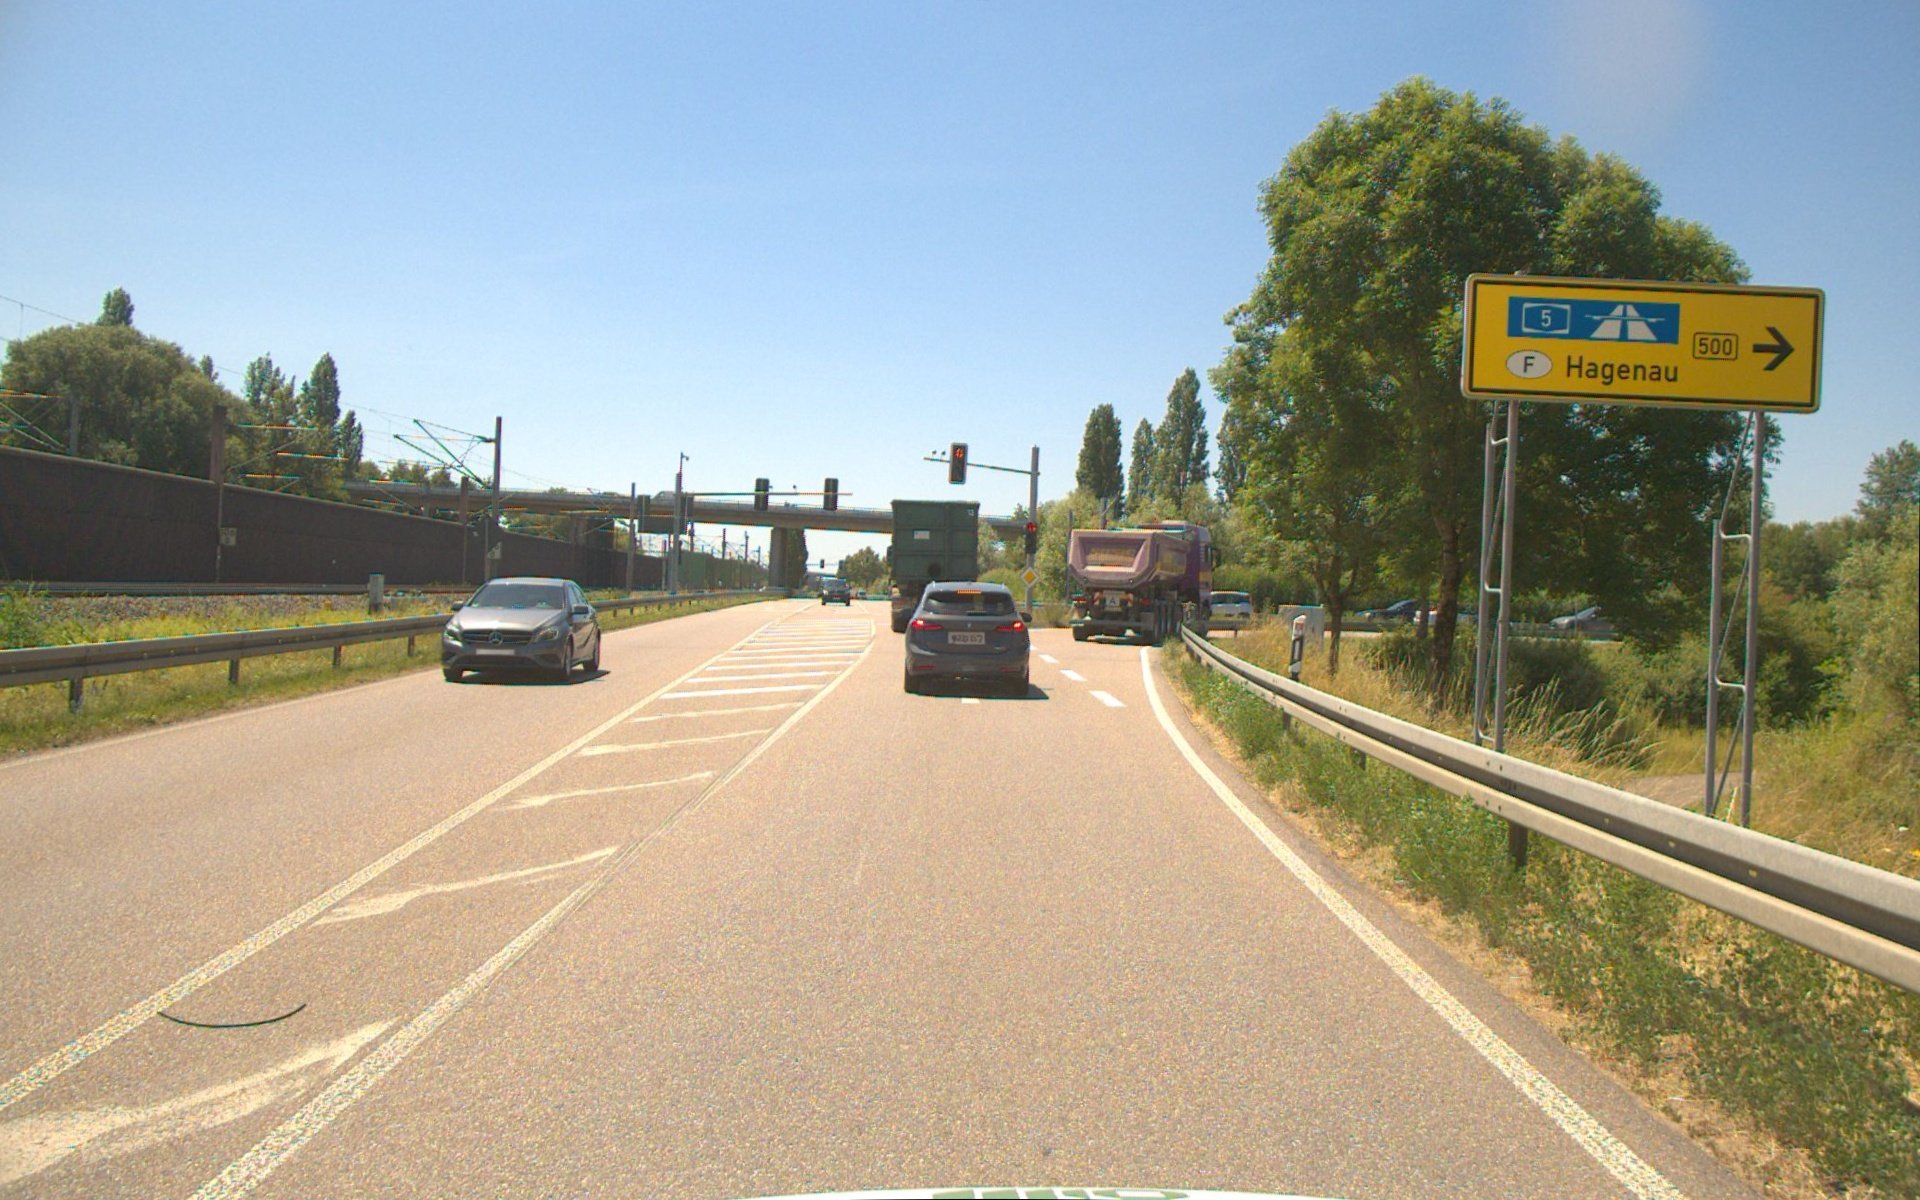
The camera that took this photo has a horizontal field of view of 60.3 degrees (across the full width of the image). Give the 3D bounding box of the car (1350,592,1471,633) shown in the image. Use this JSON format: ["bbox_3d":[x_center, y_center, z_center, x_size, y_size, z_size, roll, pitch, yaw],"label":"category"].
[{"bbox_3d":[20.056,0.534,73.696,4.825,1.660,1.933,1,0,-1],"label":"car"}]

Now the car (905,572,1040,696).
[{"bbox_3d":[0.176,0.455,24.725,1.807,1.651,4.226,1,0,0],"label":"car"}]

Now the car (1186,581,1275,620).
[{"bbox_3d":[12.142,0.012,74.325,3.632,1.660,1.733,1,0,-3],"label":"car"}]

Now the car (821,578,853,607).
[{"bbox_3d":[-8.272,-0.515,111.670,1.888,1.798,4.596,2,1,-2],"label":"car"}]

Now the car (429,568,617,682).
[{"bbox_3d":[-6.500,0.324,25.140,1.828,1.511,4.884,1,0,-4],"label":"car"}]

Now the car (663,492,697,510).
[{"bbox_3d":[-34.643,-12.228,204.501,3.908,2.049,1.999,1,0,-4],"label":"car"}]

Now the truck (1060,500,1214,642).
[{"bbox_3d":[5.776,-0.826,51.566,2.773,3.888,11.893,1,0,16],"label":"truck"}]

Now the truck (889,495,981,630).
[{"bbox_3d":[-0.892,-1.153,52.170,2.538,3.802,9.571,1,1,-2],"label":"truck"}]
